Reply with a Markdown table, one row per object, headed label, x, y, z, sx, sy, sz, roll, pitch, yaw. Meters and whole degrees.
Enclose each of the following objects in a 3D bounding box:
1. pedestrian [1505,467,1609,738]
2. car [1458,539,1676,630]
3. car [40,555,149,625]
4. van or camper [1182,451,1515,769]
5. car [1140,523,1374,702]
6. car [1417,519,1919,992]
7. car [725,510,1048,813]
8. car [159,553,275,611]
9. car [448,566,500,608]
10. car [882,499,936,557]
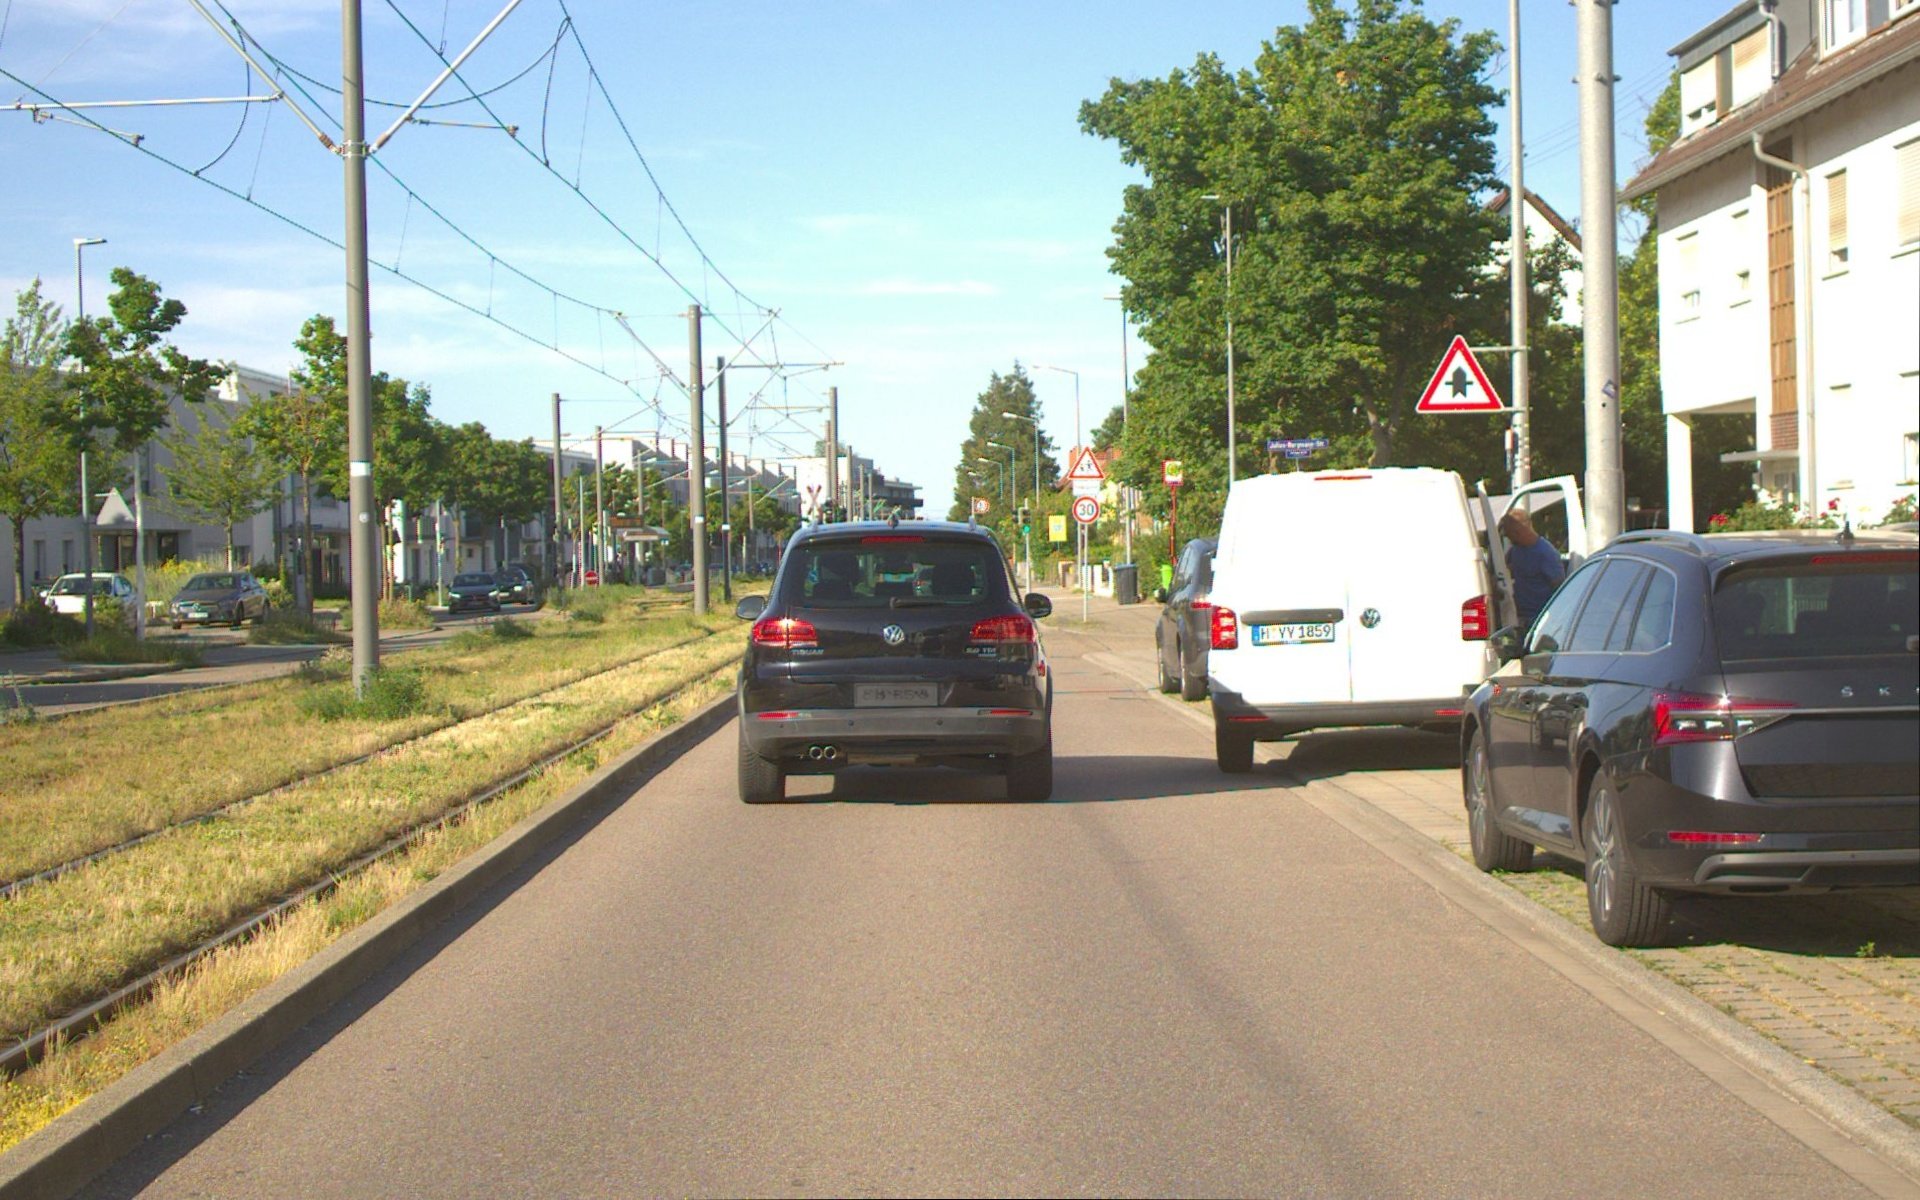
| label | x | y | z | sx | sy | sz | roll | pitch | yaw |
| --- | --- | --- | --- | --- | --- | --- | --- | --- | --- |
| pedestrian | 4.266 | 0.014 | 24.612 | 0.699 | 1.906 | 0.758 | 1 | 0 | 8 |
| car | 10.790 | -0.270 | 61.264 | 3.595 | 1.525 | 1.647 | -1 | 0 | 1 |
| car | -19.117 | -0.236 | 76.049 | 1.544 | 1.486 | 3.775 | 0 | 0 | -2 |
| van or camper | 2.768 | 0.015 | 24.129 | 2.028 | 1.949 | 5.293 | -1 | 1 | 7 |
| car | 2.974 | 0.080 | 35.407 | 1.791 | 1.623 | 4.861 | -3 | 1 | -1 |
| car | 3.082 | 0.461 | 13.686 | 1.748 | 1.489 | 5.155 | -2 | 1 | 0 |
| car | -0.490 | 0.322 | 21.203 | 1.775 | 1.664 | 4.000 | -1 | 1 | -2 |
| car | -19.272 | -0.484 | 89.377 | 1.811 | 1.456 | 4.317 | 0 | 0 | 4 |
| car | -17.120 | -0.470 | 121.231 | 1.688 | 1.384 | 4.389 | -3 | 1 | -7 |
| car | -2.331 | -3.301 | 158.547 | 2.394 | 2.556 | 5.530 | -1 | 1 | 0 |
